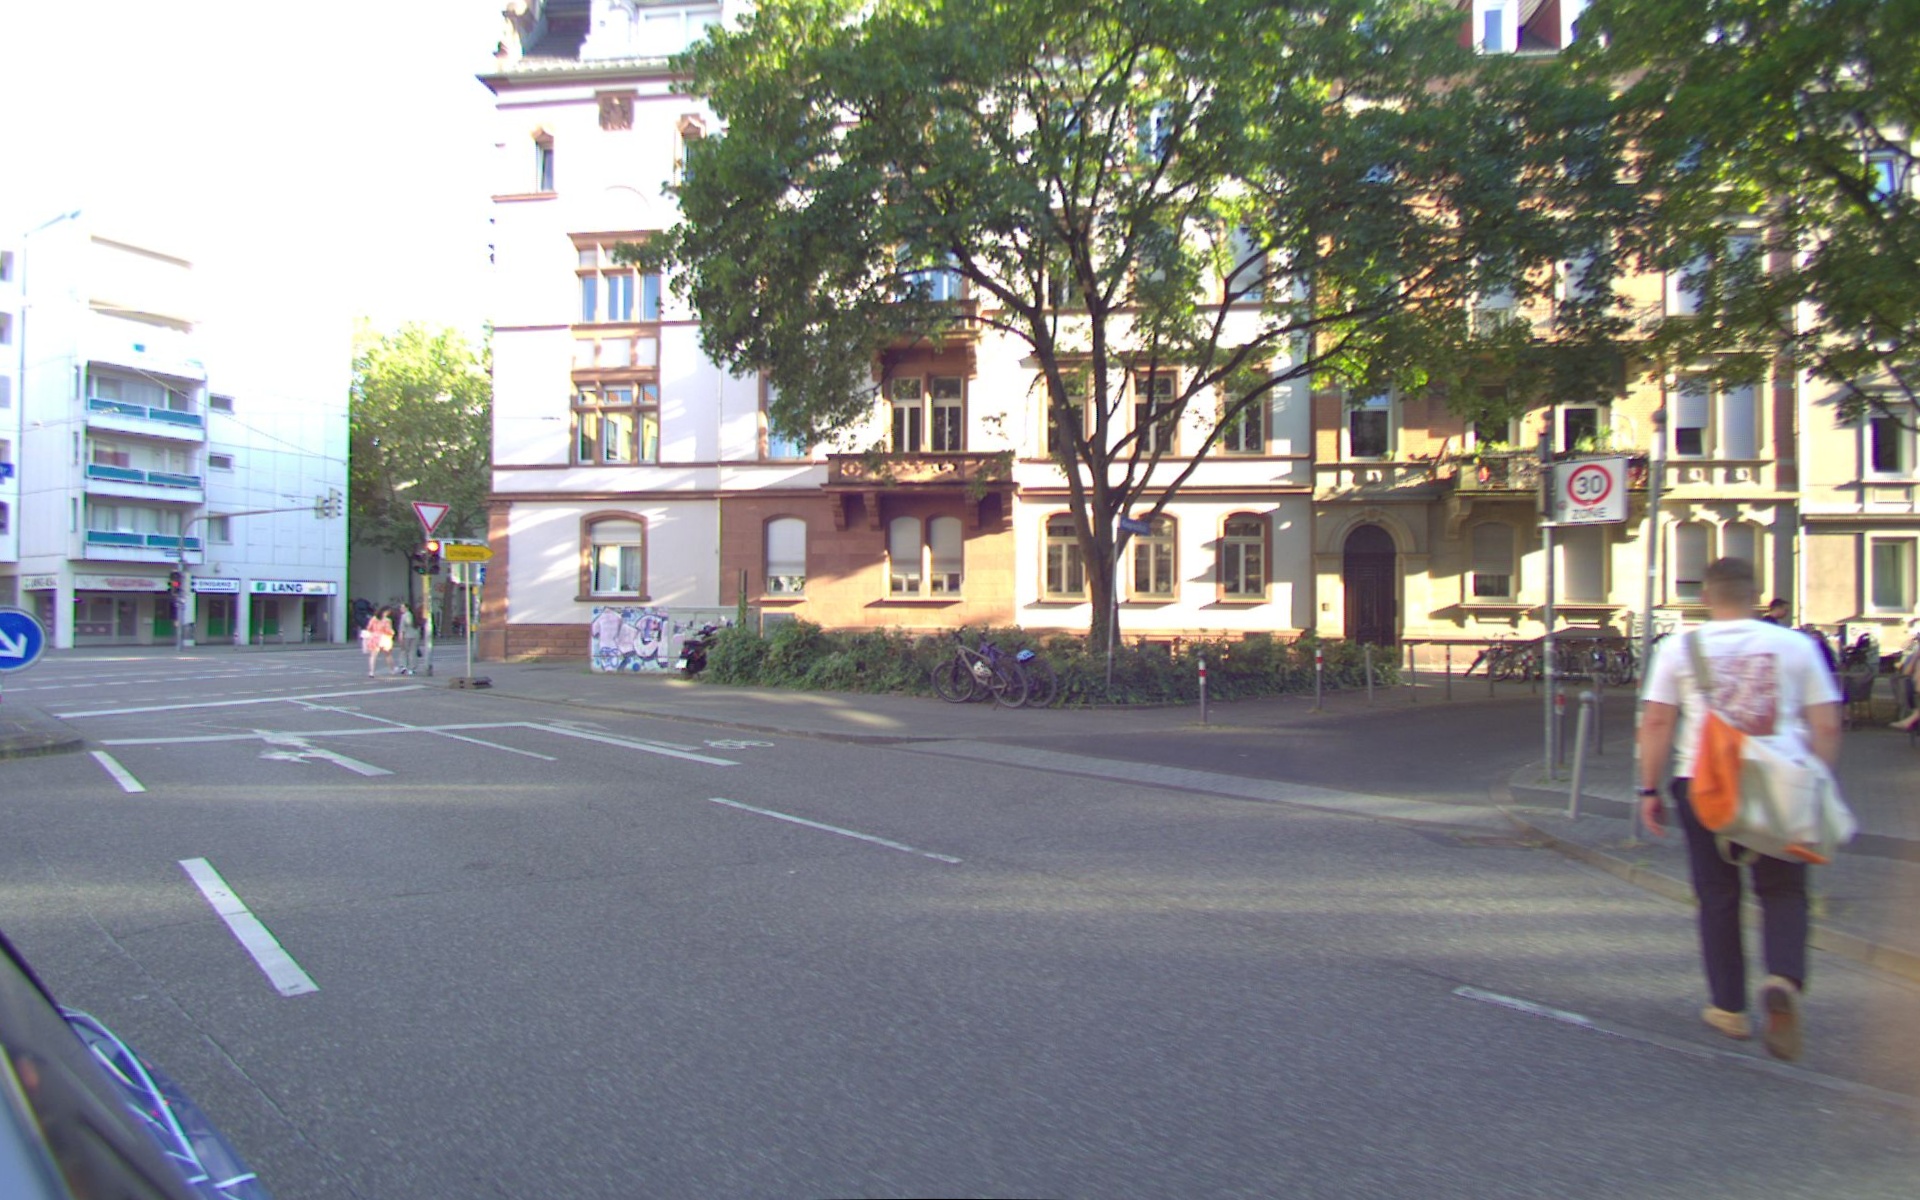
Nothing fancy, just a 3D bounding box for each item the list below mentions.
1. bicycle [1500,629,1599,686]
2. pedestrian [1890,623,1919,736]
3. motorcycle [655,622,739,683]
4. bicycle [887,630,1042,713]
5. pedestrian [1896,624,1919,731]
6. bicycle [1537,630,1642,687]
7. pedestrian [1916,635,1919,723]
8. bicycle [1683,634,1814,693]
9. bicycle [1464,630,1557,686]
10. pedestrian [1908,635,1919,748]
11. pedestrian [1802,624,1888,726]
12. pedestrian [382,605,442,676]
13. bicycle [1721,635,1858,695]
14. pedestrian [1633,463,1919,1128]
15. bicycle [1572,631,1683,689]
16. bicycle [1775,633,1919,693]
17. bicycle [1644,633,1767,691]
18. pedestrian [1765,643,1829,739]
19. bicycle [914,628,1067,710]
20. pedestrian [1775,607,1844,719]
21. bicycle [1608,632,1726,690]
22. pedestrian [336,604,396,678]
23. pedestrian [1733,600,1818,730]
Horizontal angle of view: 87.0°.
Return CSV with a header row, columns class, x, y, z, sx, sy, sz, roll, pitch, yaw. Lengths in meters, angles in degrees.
class,x,y,z,sx,sy,sz,roll,pitch,yaw
bicycle,13.370,1.274,23.095,0.743,1.189,3.130,0,-2,7
pedestrian,12.661,1.030,13.096,0.657,1.453,0.769,3,-4,-36
motorcycle,-5.789,1.138,22.401,0.836,1.275,2.099,0,-2,17
bicycle,0.006,1.077,15.999,0.539,1.205,2.961,2,-2,-44
pedestrian,13.391,1.059,13.805,0.657,1.453,0.769,3,-4,-36
bicycle,14.199,1.287,22.960,0.743,1.189,3.130,0,-2,7
pedestrian,10.639,0.995,10.627,0.748,1.258,1.011,-2,-3,39
bicycle,17.403,1.365,22.475,0.743,1.189,3.130,0,-2,7
bicycle,12.540,1.288,23.189,0.743,1.189,3.130,0,-2,7
pedestrian,11.194,1.022,11.333,0.748,1.258,0.697,-2,-3,40
pedestrian,12.888,1.080,14.740,0.657,1.423,0.769,3,-3,-34
pedestrian,-13.564,0.996,25.069,0.972,1.710,0.868,0,-2,5
bicycle,18.232,1.386,22.369,0.743,1.189,3.130,0,-2,7
pedestrian,2.883,0.573,3.523,0.841,1.913,1.104,-1,-2,36
bicycle,14.971,1.303,22.840,0.743,1.189,3.130,0,-2,7
bicycle,19.346,1.326,22.168,0.743,1.189,3.130,0,-2,7
bicycle,16.583,1.344,22.641,0.743,1.189,3.130,0,-2,7
pedestrian,12.060,1.296,14.585,0.497,1.330,0.573,1,-3,-38
bicycle,0.421,1.071,16.413,0.539,1.205,2.961,2,-2,-44
pedestrian,13.154,0.964,15.681,0.766,1.682,0.659,-2,-4,40
bicycle,15.787,1.324,22.737,0.743,1.189,3.130,0,-2,7
pedestrian,-14.124,0.962,24.080,0.856,1.710,0.985,0,-2,-4
pedestrian,11.533,0.907,14.319,0.562,1.784,0.769,3,-4,-36
